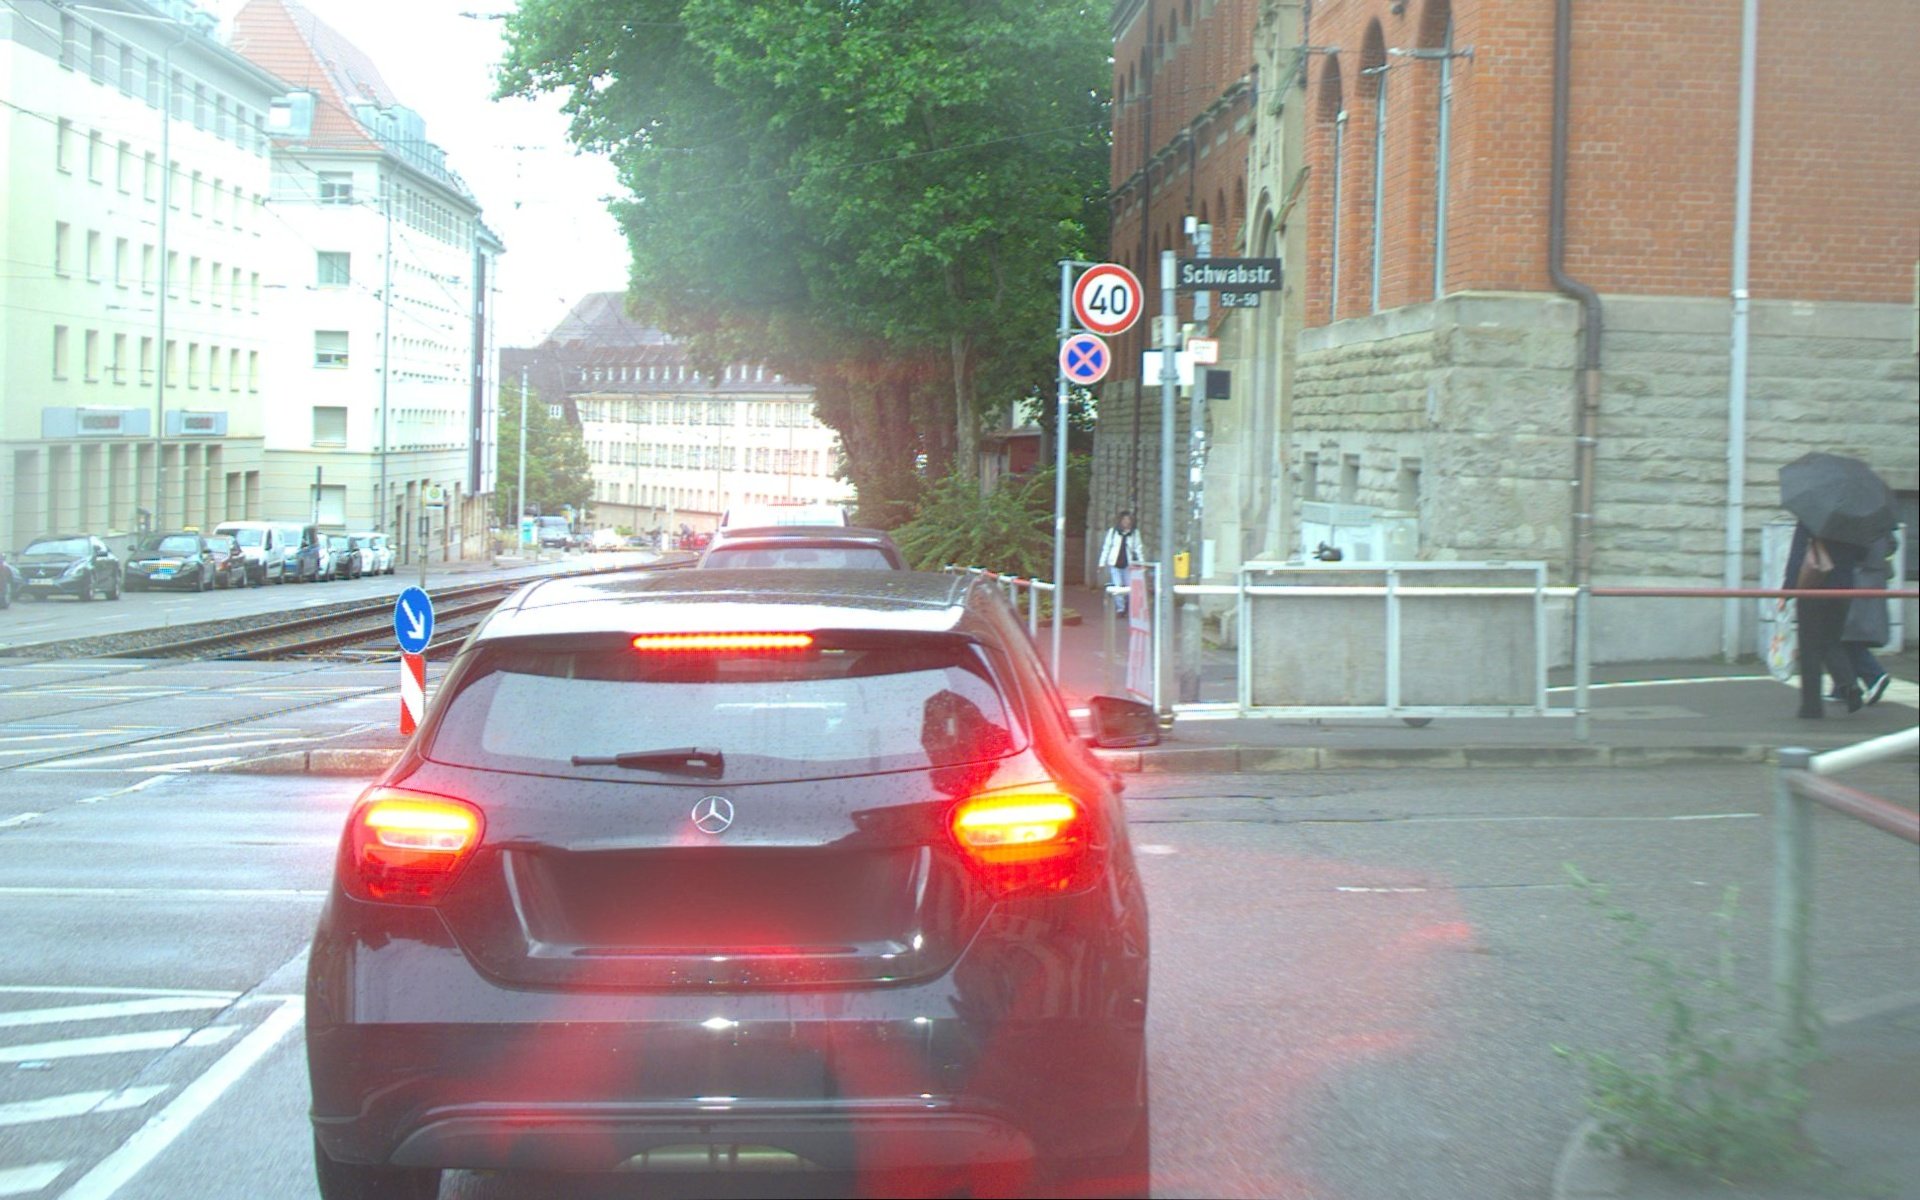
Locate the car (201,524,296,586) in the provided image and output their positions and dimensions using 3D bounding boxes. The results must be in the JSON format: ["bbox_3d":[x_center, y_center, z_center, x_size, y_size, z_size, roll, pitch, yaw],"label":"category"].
[{"bbox_3d":[-20.120,-1.276,97.367,1.867,1.711,4.460,1,1,-2],"label":"car"}]

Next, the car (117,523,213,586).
[{"bbox_3d":[-19.760,-1.147,85.637,1.851,1.503,4.993,1,1,-8],"label":"car"}]

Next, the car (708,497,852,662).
[{"bbox_3d":[-2.359,-0.276,44.408,1.740,2.007,3.904,1,1,-4],"label":"car"}]

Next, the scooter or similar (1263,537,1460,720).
[{"bbox_3d":[2.796,0.188,23.937,1.248,1.246,0.637,0,1,20],"label":"scooter or similar"}]

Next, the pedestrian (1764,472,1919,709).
[{"bbox_3d":[6.274,-0.078,24.155,0.958,1.620,1.073,-1,1,-3],"label":"pedestrian"}]

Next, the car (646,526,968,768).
[{"bbox_3d":[-1.140,0.263,23.468,1.933,1.448,4.318,2,1,-6],"label":"car"}]

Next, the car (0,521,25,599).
[{"bbox_3d":[-18.584,-0.742,63.078,1.653,1.446,4.074,1,1,1],"label":"car"}]

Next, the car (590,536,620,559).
[{"bbox_3d":[-23.434,-3.462,226.948,1.711,1.457,4.281,0,1,-3],"label":"car"}]

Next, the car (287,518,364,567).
[{"bbox_3d":[-20.815,-1.892,112.875,1.813,1.494,4.583,2,1,-3],"label":"car"}]

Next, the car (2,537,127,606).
[{"bbox_3d":[-18.768,-0.617,72.227,1.679,1.391,4.623,1,1,-4],"label":"car"}]

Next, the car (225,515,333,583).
[{"bbox_3d":[-20.406,-1.531,103.236,1.993,1.898,5.459,3,1,1],"label":"car"}]

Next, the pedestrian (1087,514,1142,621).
[{"bbox_3d":[2.458,-0.518,54.663,0.823,1.673,0.860,1,1,0],"label":"pedestrian"}]

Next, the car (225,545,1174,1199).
[{"bbox_3d":[-0.613,0.582,8.668,1.794,1.370,4.001,2,1,-3],"label":"car"}]

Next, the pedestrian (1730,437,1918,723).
[{"bbox_3d":[5.833,-0.143,23.274,0.958,1.881,1.073,-1,1,-3],"label":"pedestrian"}]
